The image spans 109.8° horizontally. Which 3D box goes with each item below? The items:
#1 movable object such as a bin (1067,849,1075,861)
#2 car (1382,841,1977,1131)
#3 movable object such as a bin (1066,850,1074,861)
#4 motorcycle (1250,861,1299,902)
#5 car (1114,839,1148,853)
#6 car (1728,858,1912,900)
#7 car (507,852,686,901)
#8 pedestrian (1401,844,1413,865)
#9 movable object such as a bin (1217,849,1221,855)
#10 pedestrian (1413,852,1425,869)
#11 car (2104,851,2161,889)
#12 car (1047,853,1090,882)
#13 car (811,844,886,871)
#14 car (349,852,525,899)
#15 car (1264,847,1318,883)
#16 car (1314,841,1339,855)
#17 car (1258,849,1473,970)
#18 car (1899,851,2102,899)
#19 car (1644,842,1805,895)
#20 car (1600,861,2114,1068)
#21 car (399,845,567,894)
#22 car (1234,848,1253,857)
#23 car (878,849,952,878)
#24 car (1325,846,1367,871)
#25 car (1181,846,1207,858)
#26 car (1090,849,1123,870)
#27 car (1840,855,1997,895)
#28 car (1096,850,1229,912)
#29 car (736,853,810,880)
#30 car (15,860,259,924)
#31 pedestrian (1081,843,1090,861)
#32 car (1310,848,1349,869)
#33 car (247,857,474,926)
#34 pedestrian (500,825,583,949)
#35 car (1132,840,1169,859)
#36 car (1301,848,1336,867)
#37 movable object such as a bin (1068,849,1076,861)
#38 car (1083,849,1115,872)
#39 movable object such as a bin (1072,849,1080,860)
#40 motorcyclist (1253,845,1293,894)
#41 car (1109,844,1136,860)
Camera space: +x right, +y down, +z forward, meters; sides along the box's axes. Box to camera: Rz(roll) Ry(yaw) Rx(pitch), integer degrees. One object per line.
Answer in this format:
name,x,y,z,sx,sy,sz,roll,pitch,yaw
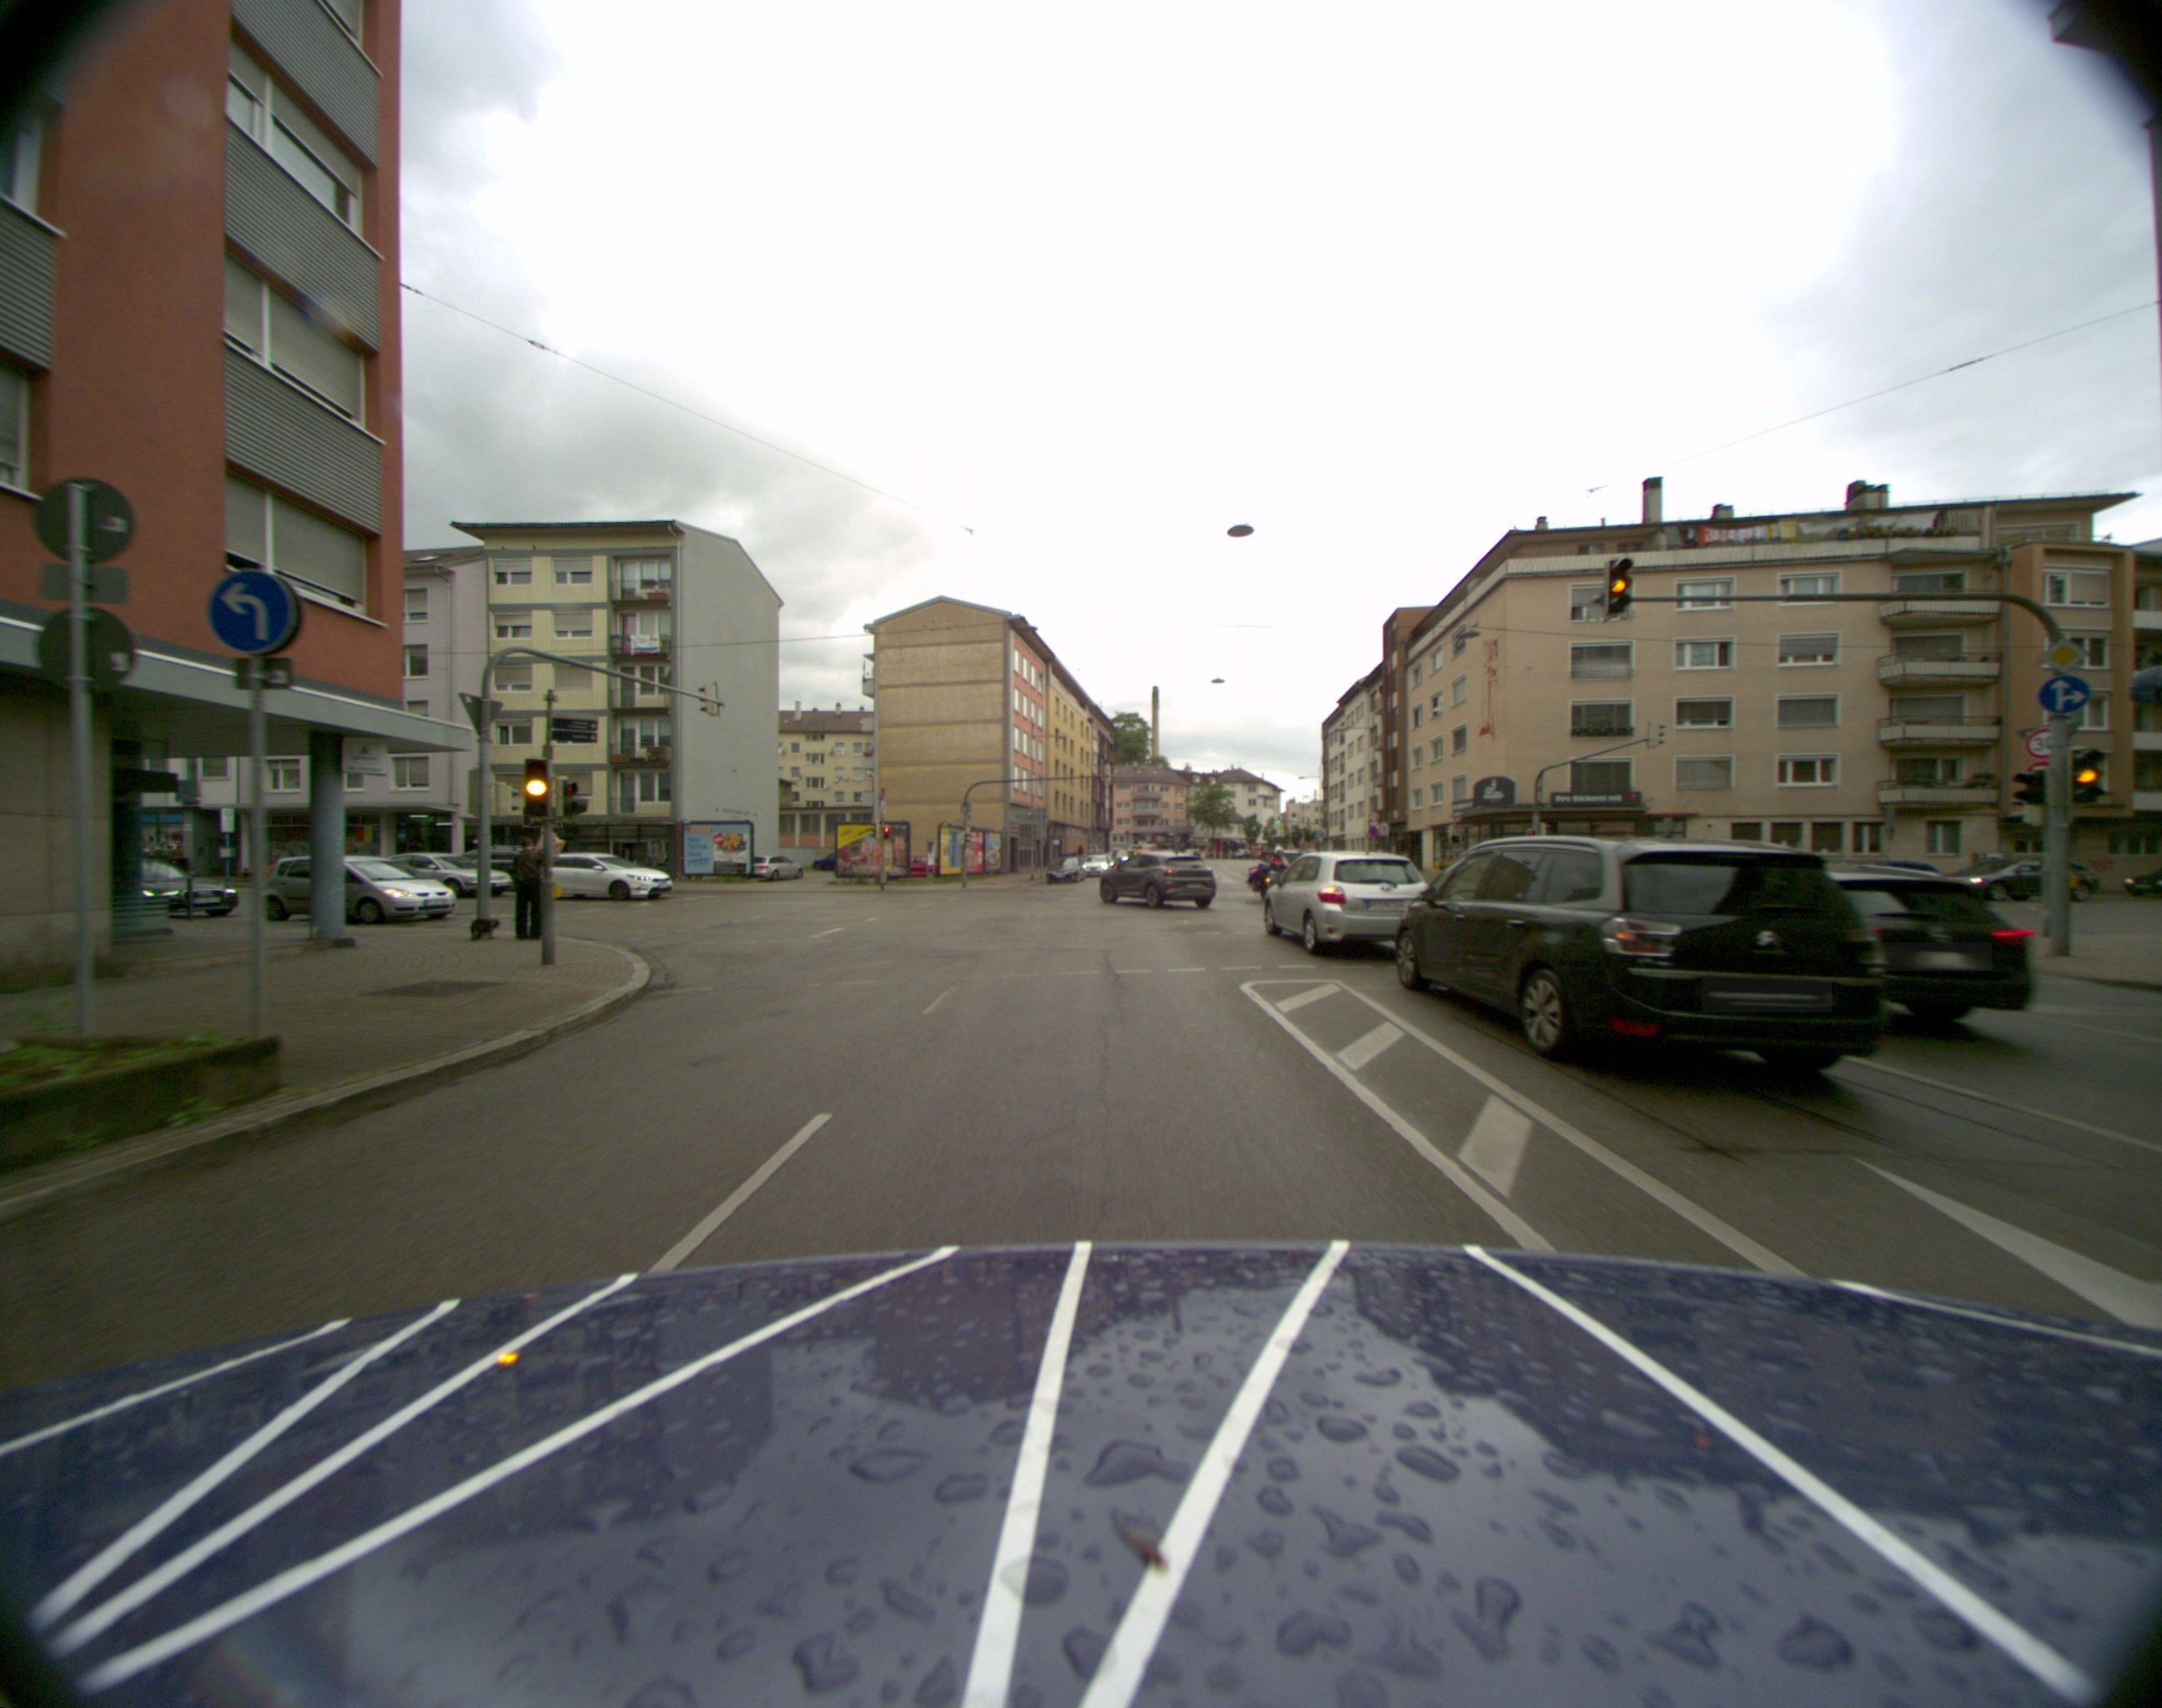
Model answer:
movable object such as a bin,-0.936,0.097,71.861,0.682,1.070,0.668,0,2,9
car,4.246,0.710,6.534,1.825,1.599,4.431,0,1,4
movable object such as a bin,-1.053,0.123,71.169,0.682,1.070,0.668,0,2,9
motorcycle,6.006,0.825,23.659,0.589,1.184,2.099,-2,1,-12
car,6.896,-1.081,104.615,2.004,1.711,4.783,0,2,-36
car,25.199,0.851,26.044,4.337,1.368,2.047,0,-1,0
car,-15.605,0.698,24.624,4.660,1.477,1.920,0,1,5
pedestrian,24.230,0.046,56.489,0.544,1.574,0.669,-1,1,-5
movable object such as a bin,21.744,-0.276,119.532,0.419,0.924,0.533,2,0,29
pedestrian,24.240,0.461,54.511,0.672,1.141,0.596,0,2,36
car,46.750,0.665,32.305,4.261,1.483,1.840,0,3,-5
car,-0.669,0.734,43.831,1.787,1.488,4.058,-2,1,8
car,-16.248,0.257,53.160,4.767,1.679,2.159,-2,0,26
car,-21.334,0.686,25.250,4.518,1.477,1.846,0,1,7
car,10.466,0.519,38.084,1.824,1.630,4.374,0,1,5
car,38.255,-0.932,118.298,2.120,2.003,5.138,-2,2,37
car,4.220,0.720,12.080,1.939,1.518,4.134,0,1,1
car,31.826,0.729,26.401,4.653,1.580,2.046,0,-1,-1
car,26.950,0.586,31.972,4.862,2.091,2.046,0,3,3
car,7.525,0.866,8.159,1.823,1.425,4.403,2,1,15
car,-23.555,0.646,30.076,4.897,1.857,2.028,0,-3,-3
car,25.512,-0.246,119.191,1.810,1.334,4.007,-2,0,30
car,-9.355,0.526,43.042,3.661,1.542,2.088,0,0,1
car,17.924,0.251,51.595,1.911,1.545,4.633,1,1,10
car,15.152,-0.278,102.056,1.839,1.433,4.008,-2,0,35
car,2.025,0.400,58.662,2.038,1.380,5.295,1,2,7
car,35.294,0.856,32.129,4.337,1.547,2.045,0,3,-1
car,2.180,0.674,21.623,1.864,1.544,4.217,0,1,-24
car,-16.837,0.643,41.751,1.878,1.431,4.333,0,0,7
car,-23.064,0.886,18.642,4.377,1.417,1.669,0,1,7
pedestrian,0.459,-0.194,74.829,0.674,1.777,1.096,-1,1,12
car,19.461,0.324,59.691,1.997,1.468,4.520,1,1,6
car,-16.796,0.834,17.815,3.953,1.477,1.703,0,1,7
pedestrian,-9.677,0.585,13.653,0.827,2.145,0.770,-2,0,7
car,8.086,-0.541,87.534,2.194,2.074,5.943,0,1,27
car,20.234,0.248,65.012,1.886,1.468,4.981,1,1,6
movable object such as a bin,-0.834,0.102,72.539,0.682,1.070,0.668,0,2,9
car,1.233,0.463,51.461,1.679,1.394,4.005,-1,-3,8
movable object such as a bin,-0.519,0.003,74.570,0.682,1.070,0.668,0,2,9
motorcyclist,5.995,0.471,23.771,0.918,1.485,0.863,-2,1,-12
car,3.948,-0.244,71.935,1.809,1.332,4.281,1,2,14
